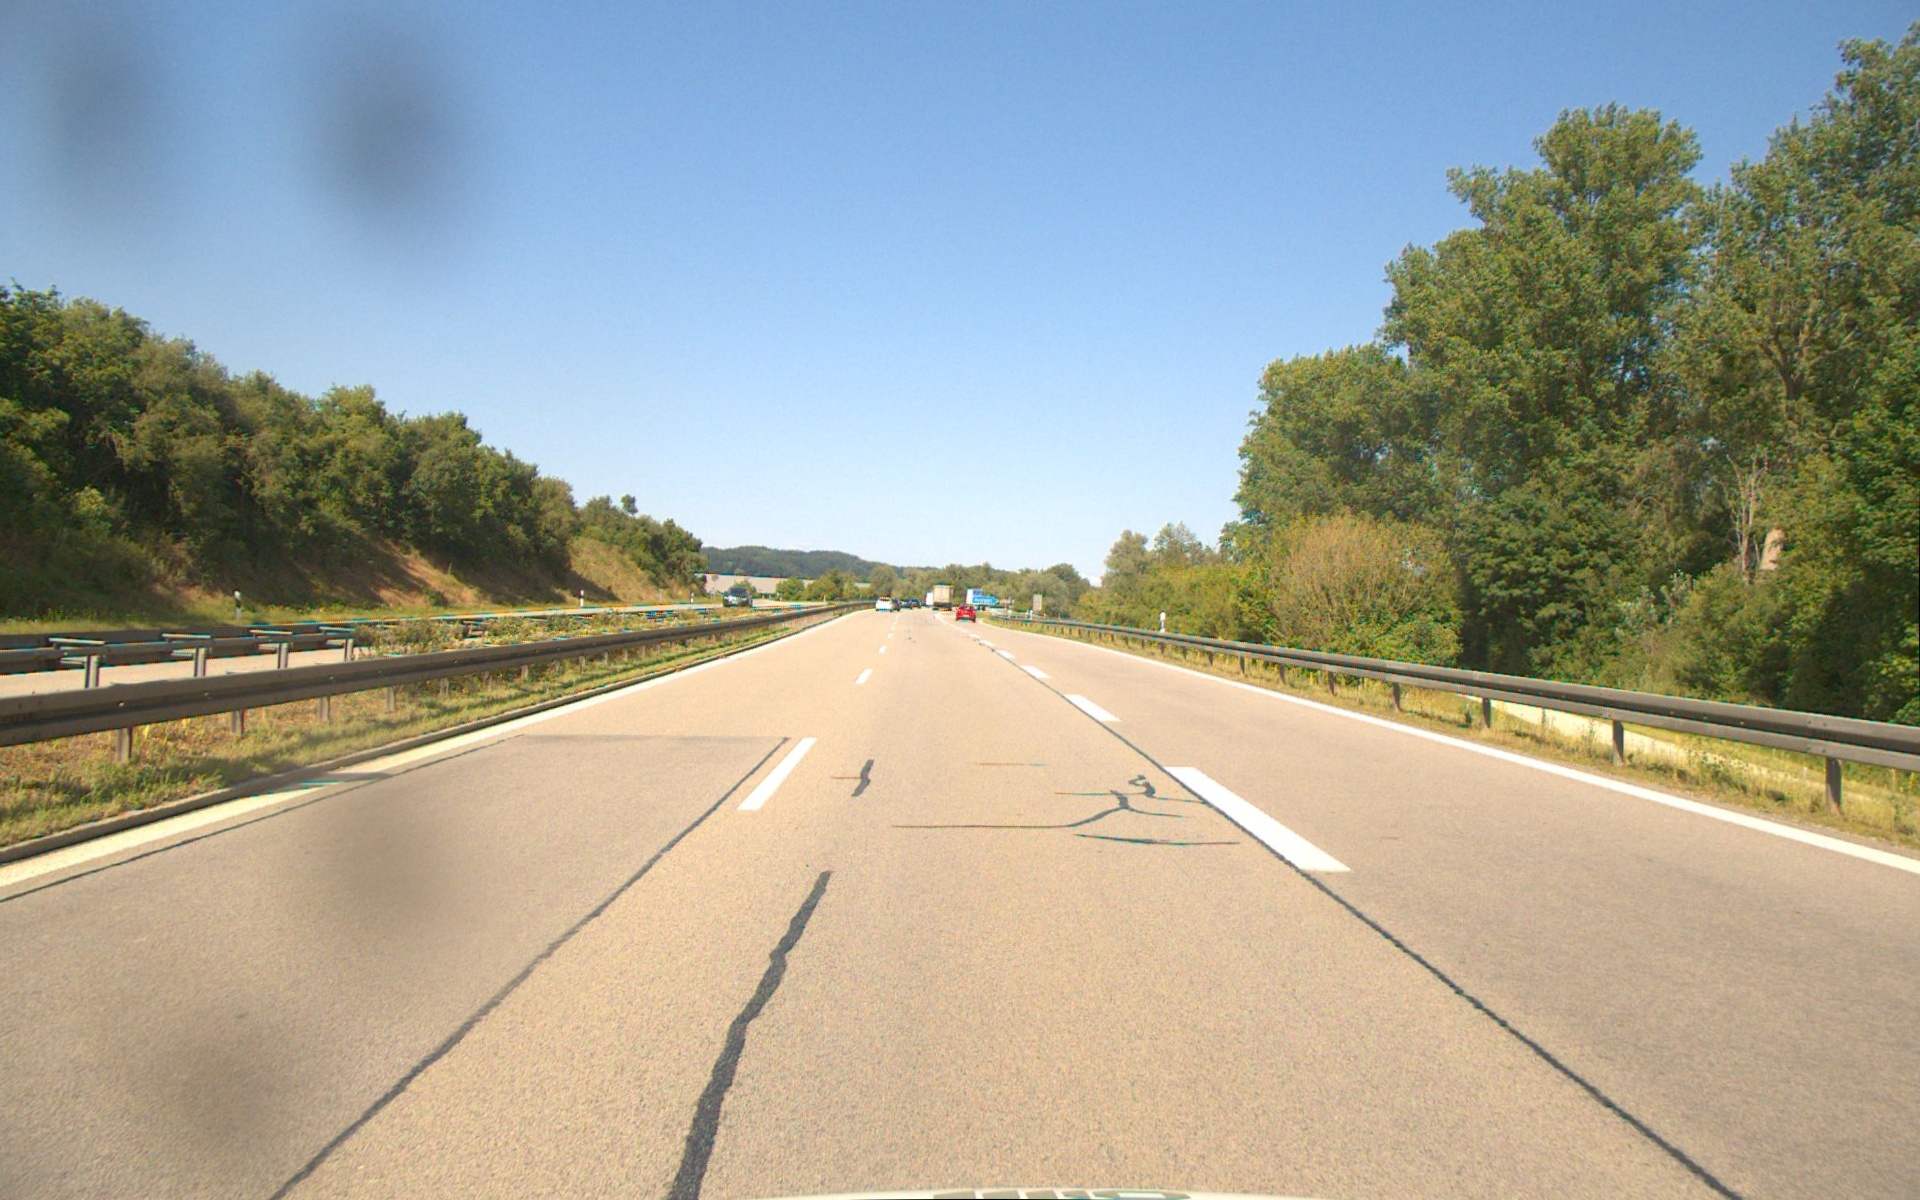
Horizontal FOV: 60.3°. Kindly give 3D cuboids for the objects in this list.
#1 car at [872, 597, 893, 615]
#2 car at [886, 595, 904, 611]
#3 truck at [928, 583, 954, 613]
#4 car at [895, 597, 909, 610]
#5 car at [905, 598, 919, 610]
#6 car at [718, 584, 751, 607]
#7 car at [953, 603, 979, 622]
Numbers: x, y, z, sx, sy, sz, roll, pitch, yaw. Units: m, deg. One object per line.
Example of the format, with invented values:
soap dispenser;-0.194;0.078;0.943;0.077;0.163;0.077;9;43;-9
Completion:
car;-8.026;0.604;171.475;2.020;1.653;3.998;2;-2;-2
car;-7.443;0.350;188.564;1.953;1.780;3.998;3;0;-2
truck;-2.952;-0.373;261.881;3.759;4.474;11.471;2;0;0
car;-8.066;0.453;230.170;1.953;1.780;3.998;3;0;-2
car;-7.584;0.689;260.044;1.953;1.780;4.000;3;0;0
car;-17.391;-0.329;127.934;1.953;1.673;5.081;2;-1;-2
car;0.507;1.123;144.611;1.747;1.456;4.002;5;-1;6
